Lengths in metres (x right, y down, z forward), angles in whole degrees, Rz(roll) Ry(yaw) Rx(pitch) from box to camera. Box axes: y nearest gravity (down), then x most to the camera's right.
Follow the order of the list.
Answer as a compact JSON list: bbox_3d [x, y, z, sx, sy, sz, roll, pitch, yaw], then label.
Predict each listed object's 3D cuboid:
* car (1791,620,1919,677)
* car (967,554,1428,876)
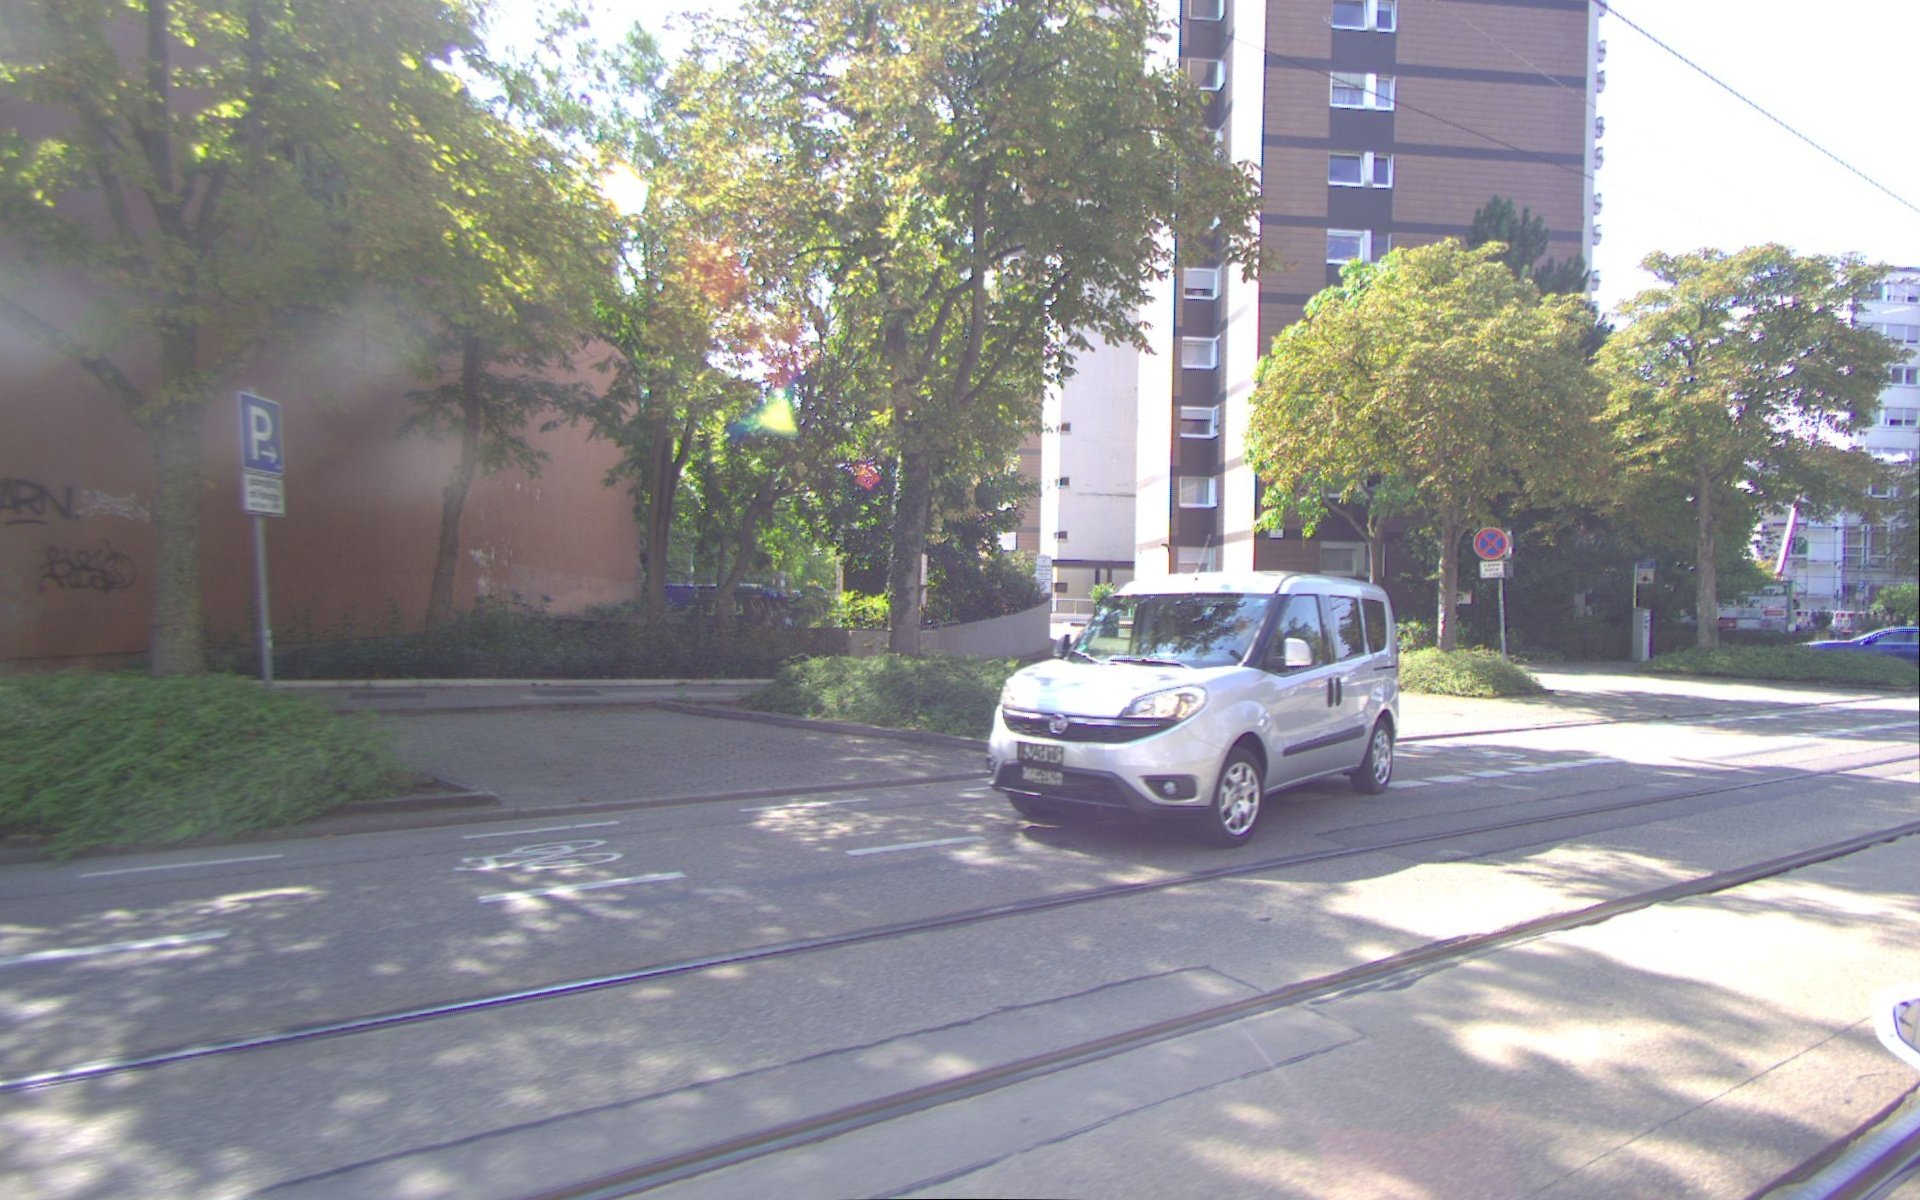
[{"bbox_3d":[28.124,1.466,30.325,4.509,1.573,1.993,2,0,36],"label":"car"},{"bbox_3d":[2.035,0.661,7.743,1.727,1.820,3.978,2,0,42],"label":"car"}]
